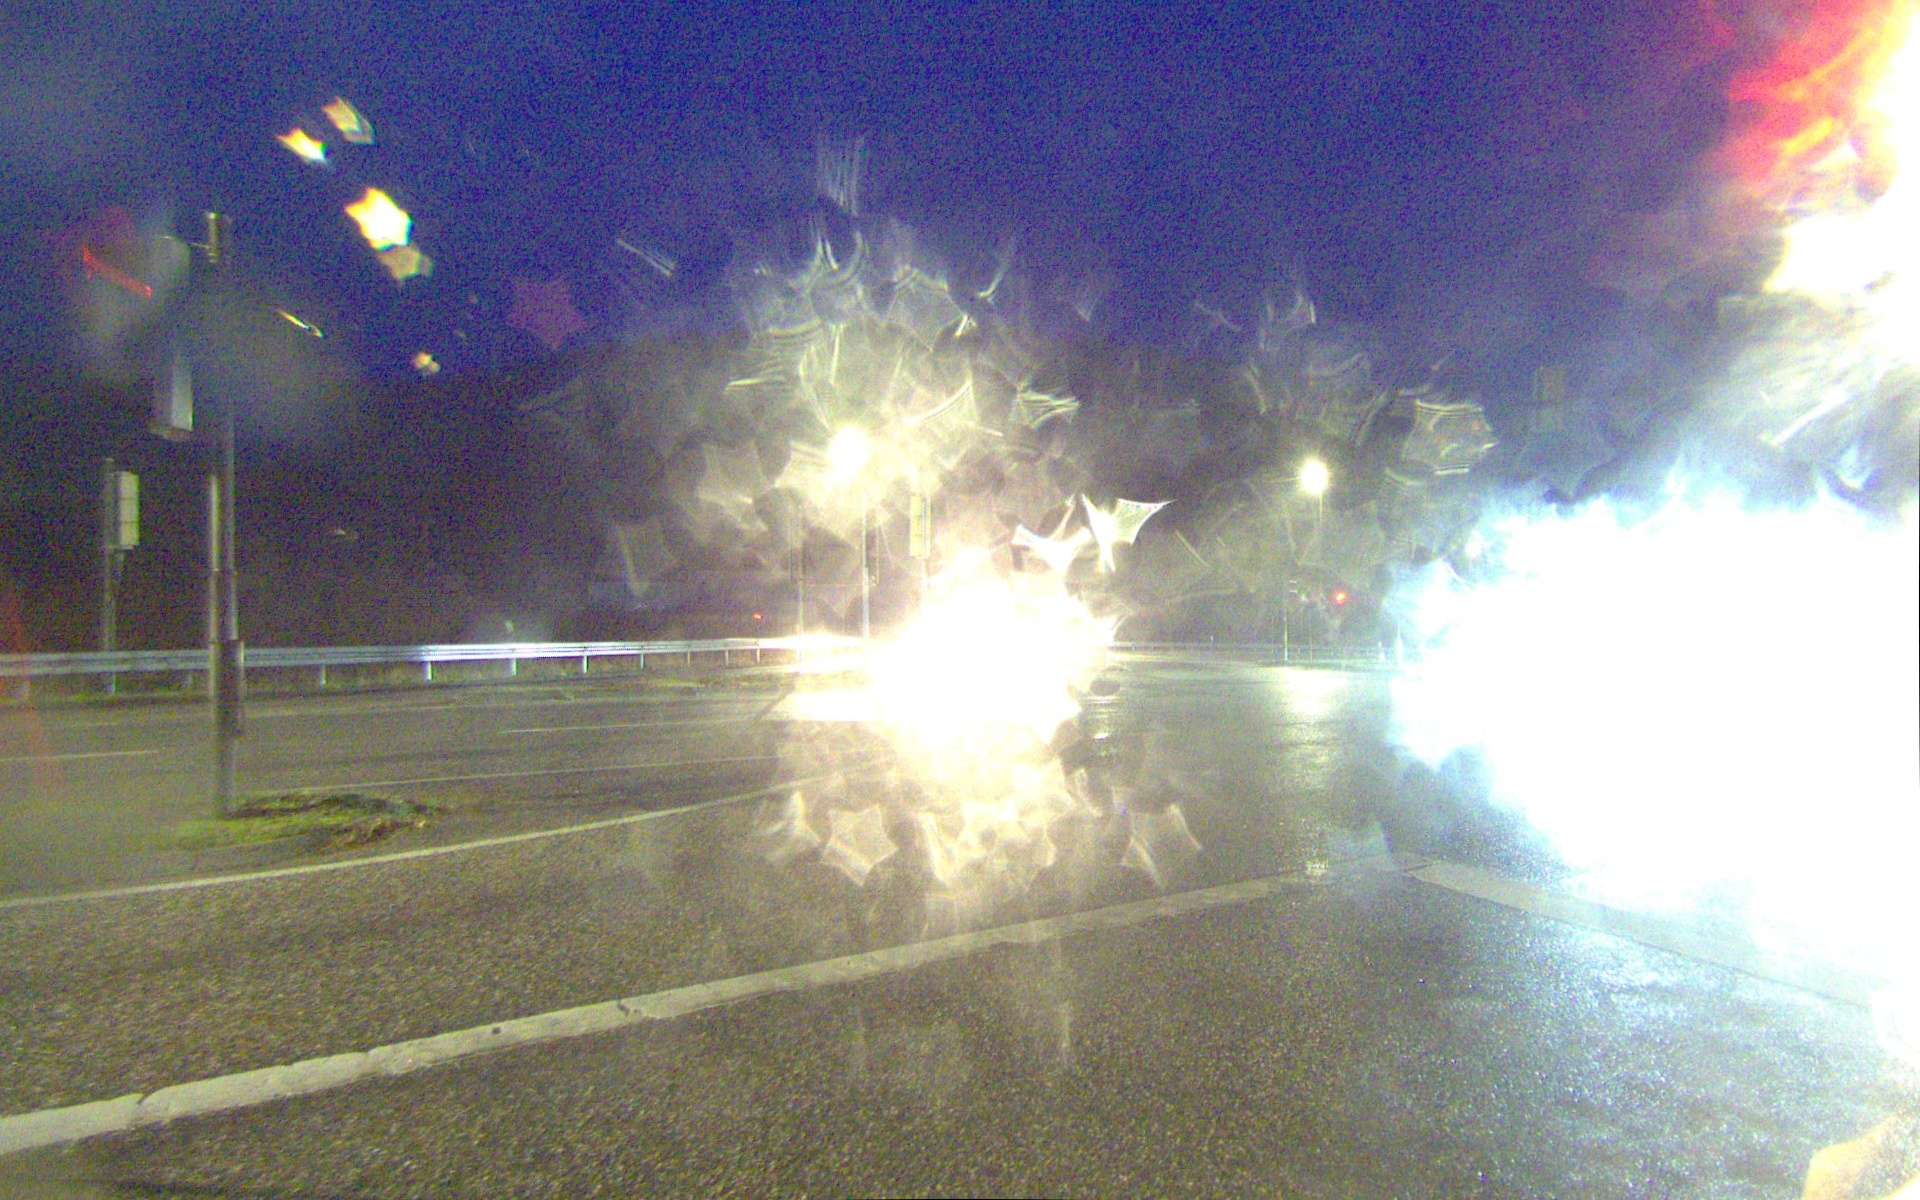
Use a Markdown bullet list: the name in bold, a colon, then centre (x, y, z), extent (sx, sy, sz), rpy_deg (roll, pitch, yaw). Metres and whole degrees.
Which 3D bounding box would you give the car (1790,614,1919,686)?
- **car**: centre (22.154, 1.171, 24.256), extent (4.654, 1.592, 1.691), rpy_deg (1, -1, -29)

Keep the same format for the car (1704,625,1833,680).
- **car**: centre (23.385, 1.516, 29.034), extent (3.683, 1.473, 1.660), rpy_deg (2, -1, -29)

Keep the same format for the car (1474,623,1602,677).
- **car**: centre (21.130, 1.790, 36.889), extent (3.924, 1.856, 1.720), rpy_deg (0, -1, 24)

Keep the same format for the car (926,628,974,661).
- **car**: centre (-0.439, 2.190, 49.267), extent (1.625, 1.518, 4.379), rpy_deg (-1, -3, 9)

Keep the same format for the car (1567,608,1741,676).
- **car**: centre (17.822, 1.046, 25.734), extent (4.855, 1.592, 1.784), rpy_deg (1, -1, -30)
